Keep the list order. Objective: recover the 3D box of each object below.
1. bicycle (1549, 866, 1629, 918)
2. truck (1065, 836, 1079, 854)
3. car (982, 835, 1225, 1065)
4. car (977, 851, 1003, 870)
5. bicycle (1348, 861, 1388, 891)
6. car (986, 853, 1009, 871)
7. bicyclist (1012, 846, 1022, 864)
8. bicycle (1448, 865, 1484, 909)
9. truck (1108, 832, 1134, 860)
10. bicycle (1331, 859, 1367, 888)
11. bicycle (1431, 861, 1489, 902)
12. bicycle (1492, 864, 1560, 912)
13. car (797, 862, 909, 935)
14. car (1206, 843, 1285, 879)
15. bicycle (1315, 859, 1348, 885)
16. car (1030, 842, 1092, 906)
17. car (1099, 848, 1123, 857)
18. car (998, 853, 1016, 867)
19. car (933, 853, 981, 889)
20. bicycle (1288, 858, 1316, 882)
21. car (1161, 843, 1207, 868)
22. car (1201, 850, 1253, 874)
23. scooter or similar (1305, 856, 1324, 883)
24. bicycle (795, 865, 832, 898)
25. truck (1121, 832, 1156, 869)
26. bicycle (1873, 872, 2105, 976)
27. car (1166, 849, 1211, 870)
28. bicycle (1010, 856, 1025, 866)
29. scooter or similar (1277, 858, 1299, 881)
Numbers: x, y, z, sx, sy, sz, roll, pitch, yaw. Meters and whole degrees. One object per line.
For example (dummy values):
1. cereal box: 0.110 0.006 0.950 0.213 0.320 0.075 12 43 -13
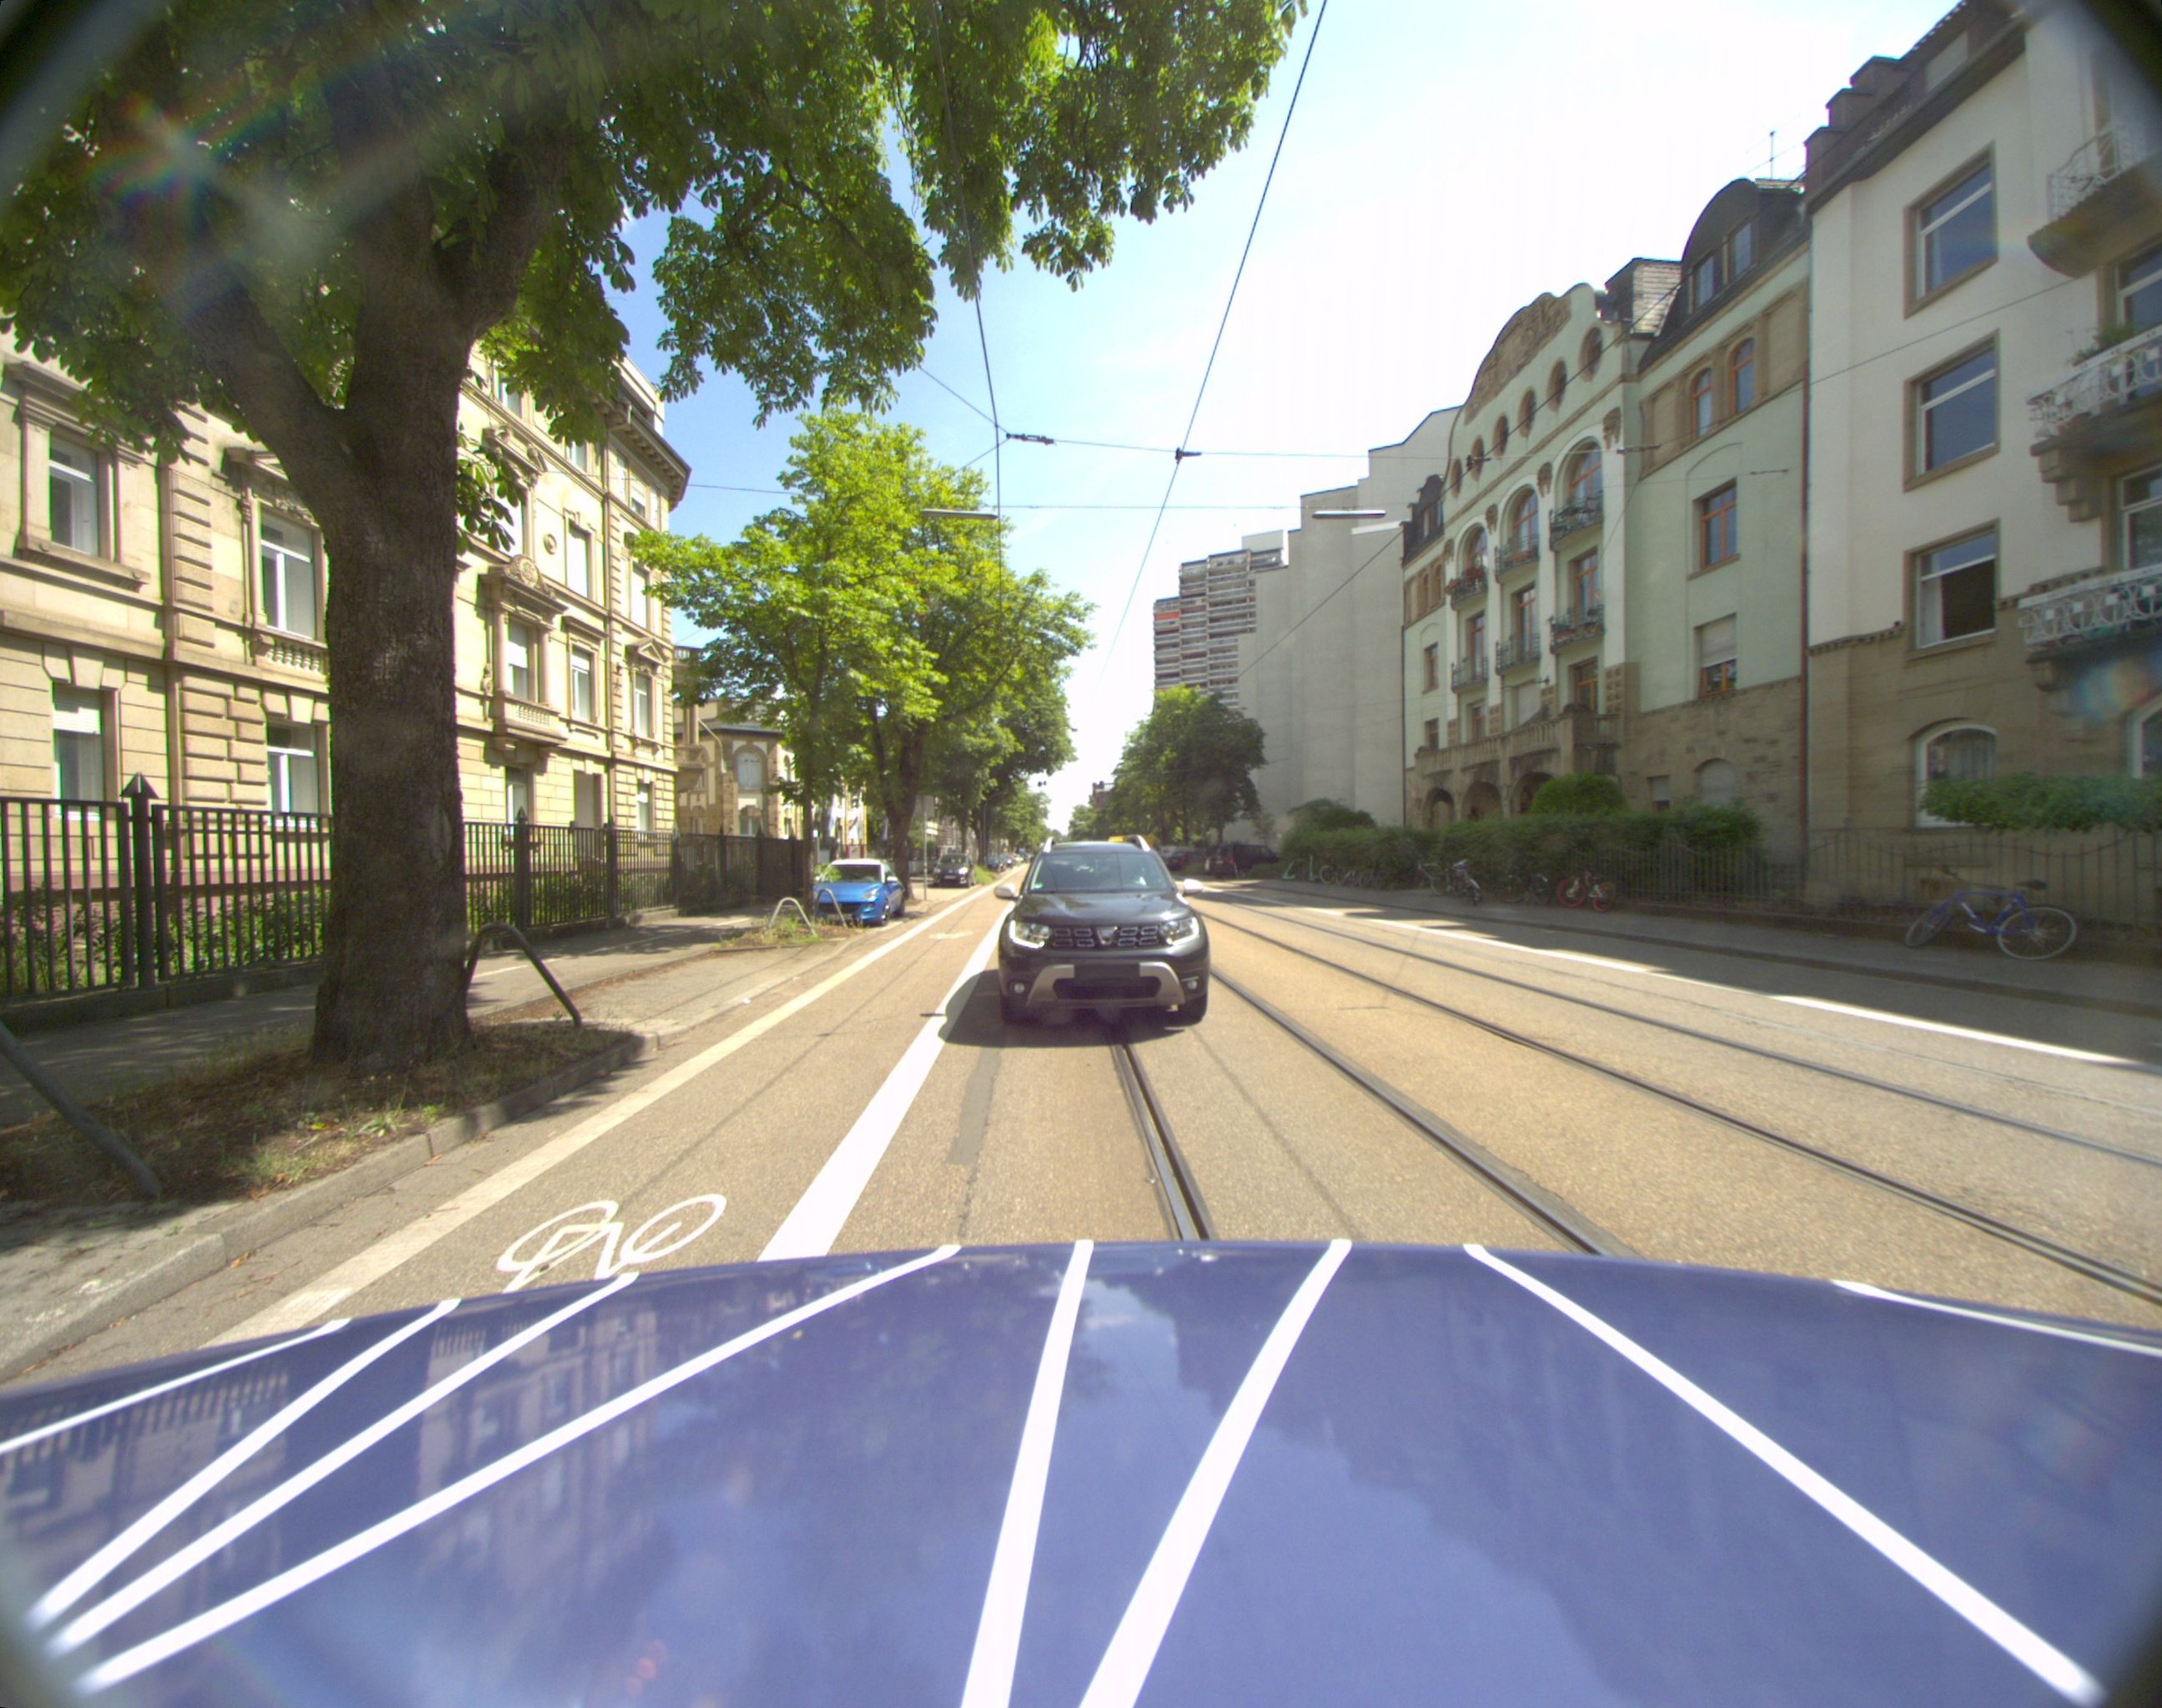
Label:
1. bicycle: 10.681 0.773 16.035 0.414 0.960 1.725 -4 1 -2
2. truck: -1.833 -1.777 155.033 2.792 3.598 8.255 -1 0 0
3. car: 0.087 0.705 7.810 1.753 1.641 4.296 -2 0 -2
4. car: -6.997 0.500 58.581 1.626 1.395 3.822 2 0 -3
5. bicycle: 10.071 0.757 26.739 0.609 0.970 1.771 -5 0 -3
6. car: -7.147 0.653 65.130 1.626 1.395 3.999 2 0 -3
7. bicyclist: -7.035 0.122 83.410 0.775 2.002 0.806 -1 1 -29
8. bicycle: 9.530 0.797 18.787 0.608 0.993 1.778 0 1 33
9. truck: 6.305 -1.208 118.217 2.672 4.156 10.481 -1 0 11
10. bicycle: 10.075 0.722 28.573 0.609 0.983 1.707 -5 0 -3
11. bicycle: 10.468 0.726 21.052 0.609 1.026 1.771 -5 0 -3
12. bicycle: 10.429 0.772 17.868 0.465 0.993 1.707 -4 1 -2
13. car: -5.165 0.947 17.639 1.696 1.444 3.472 -1 0 -3
14. car: 9.463 0.367 43.452 4.595 1.914 1.957 -1 1 -40
15. bicycle: 10.035 0.709 30.477 0.609 0.983 1.707 -5 0 -3
16. car: -0.664 0.574 24.773 1.753 1.806 4.307 -3 0 -2
17. car: 5.843 -0.315 148.273 4.338 1.797 1.995 -1 1 -35
18. car: -7.539 0.575 77.444 1.626 1.395 3.999 2 0 -3
19. car: -5.885 0.760 36.503 1.734 1.607 4.083 1 0 -2
20. bicycle: 9.848 0.714 33.885 0.609 0.983 1.707 -5 0 -3
21. car: 8.562 0.109 62.957 4.061 2.030 1.598 -1 1 -43
22. car: 9.632 0.498 50.108 1.721 1.445 3.635 0 1 42
23. scooter or similar: 9.912 0.654 32.294 0.407 1.113 1.290 -1 1 -1
24. bicycle: -9.334 0.956 26.594 0.609 1.065 1.980 -1 0 -1
25. truck: 4.721 -0.264 63.686 2.307 2.903 6.514 -1 0 -1
26. bicycle: 10.973 0.794 9.292 0.609 1.058 1.771 -5 0 -3
27. car: 8.449 0.373 59.577 3.692 1.566 1.678 -1 2 -45
28. bicycle: -6.978 0.743 83.330 0.813 1.089 2.169 -1 1 -28
29. scooter or similar: 9.696 0.715 35.625 0.407 1.014 1.222 -1 1 -18
